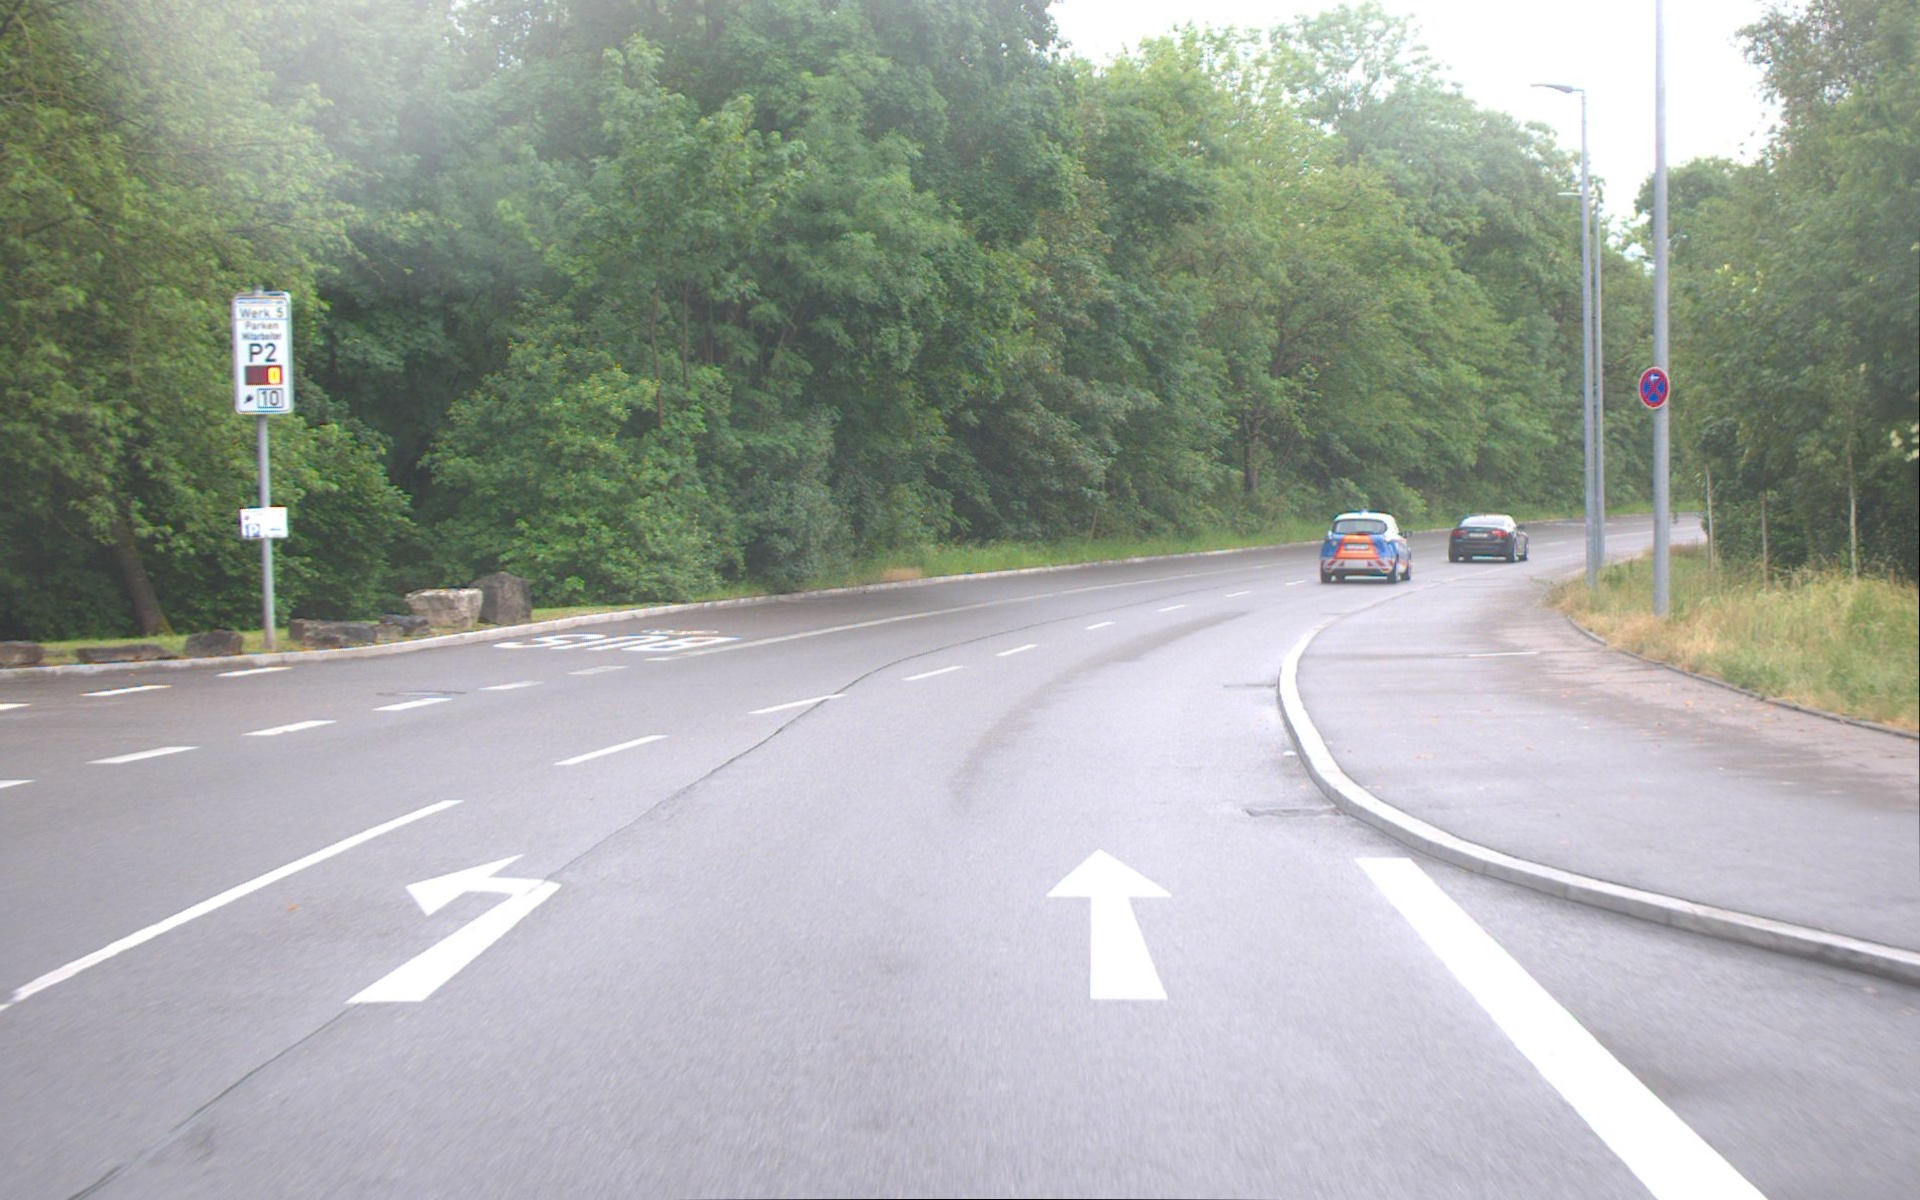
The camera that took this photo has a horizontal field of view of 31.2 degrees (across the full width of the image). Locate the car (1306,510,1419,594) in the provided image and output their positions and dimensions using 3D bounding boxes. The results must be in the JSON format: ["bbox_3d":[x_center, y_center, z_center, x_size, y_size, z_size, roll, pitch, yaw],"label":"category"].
[{"bbox_3d":[9.136,-1.099,77.742,1.995,1.683,3.998,-1,3,14],"label":"car"}]

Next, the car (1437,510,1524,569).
[{"bbox_3d":[14.830,-1.729,97.855,1.928,1.481,3.797,-1,3,16],"label":"car"}]
